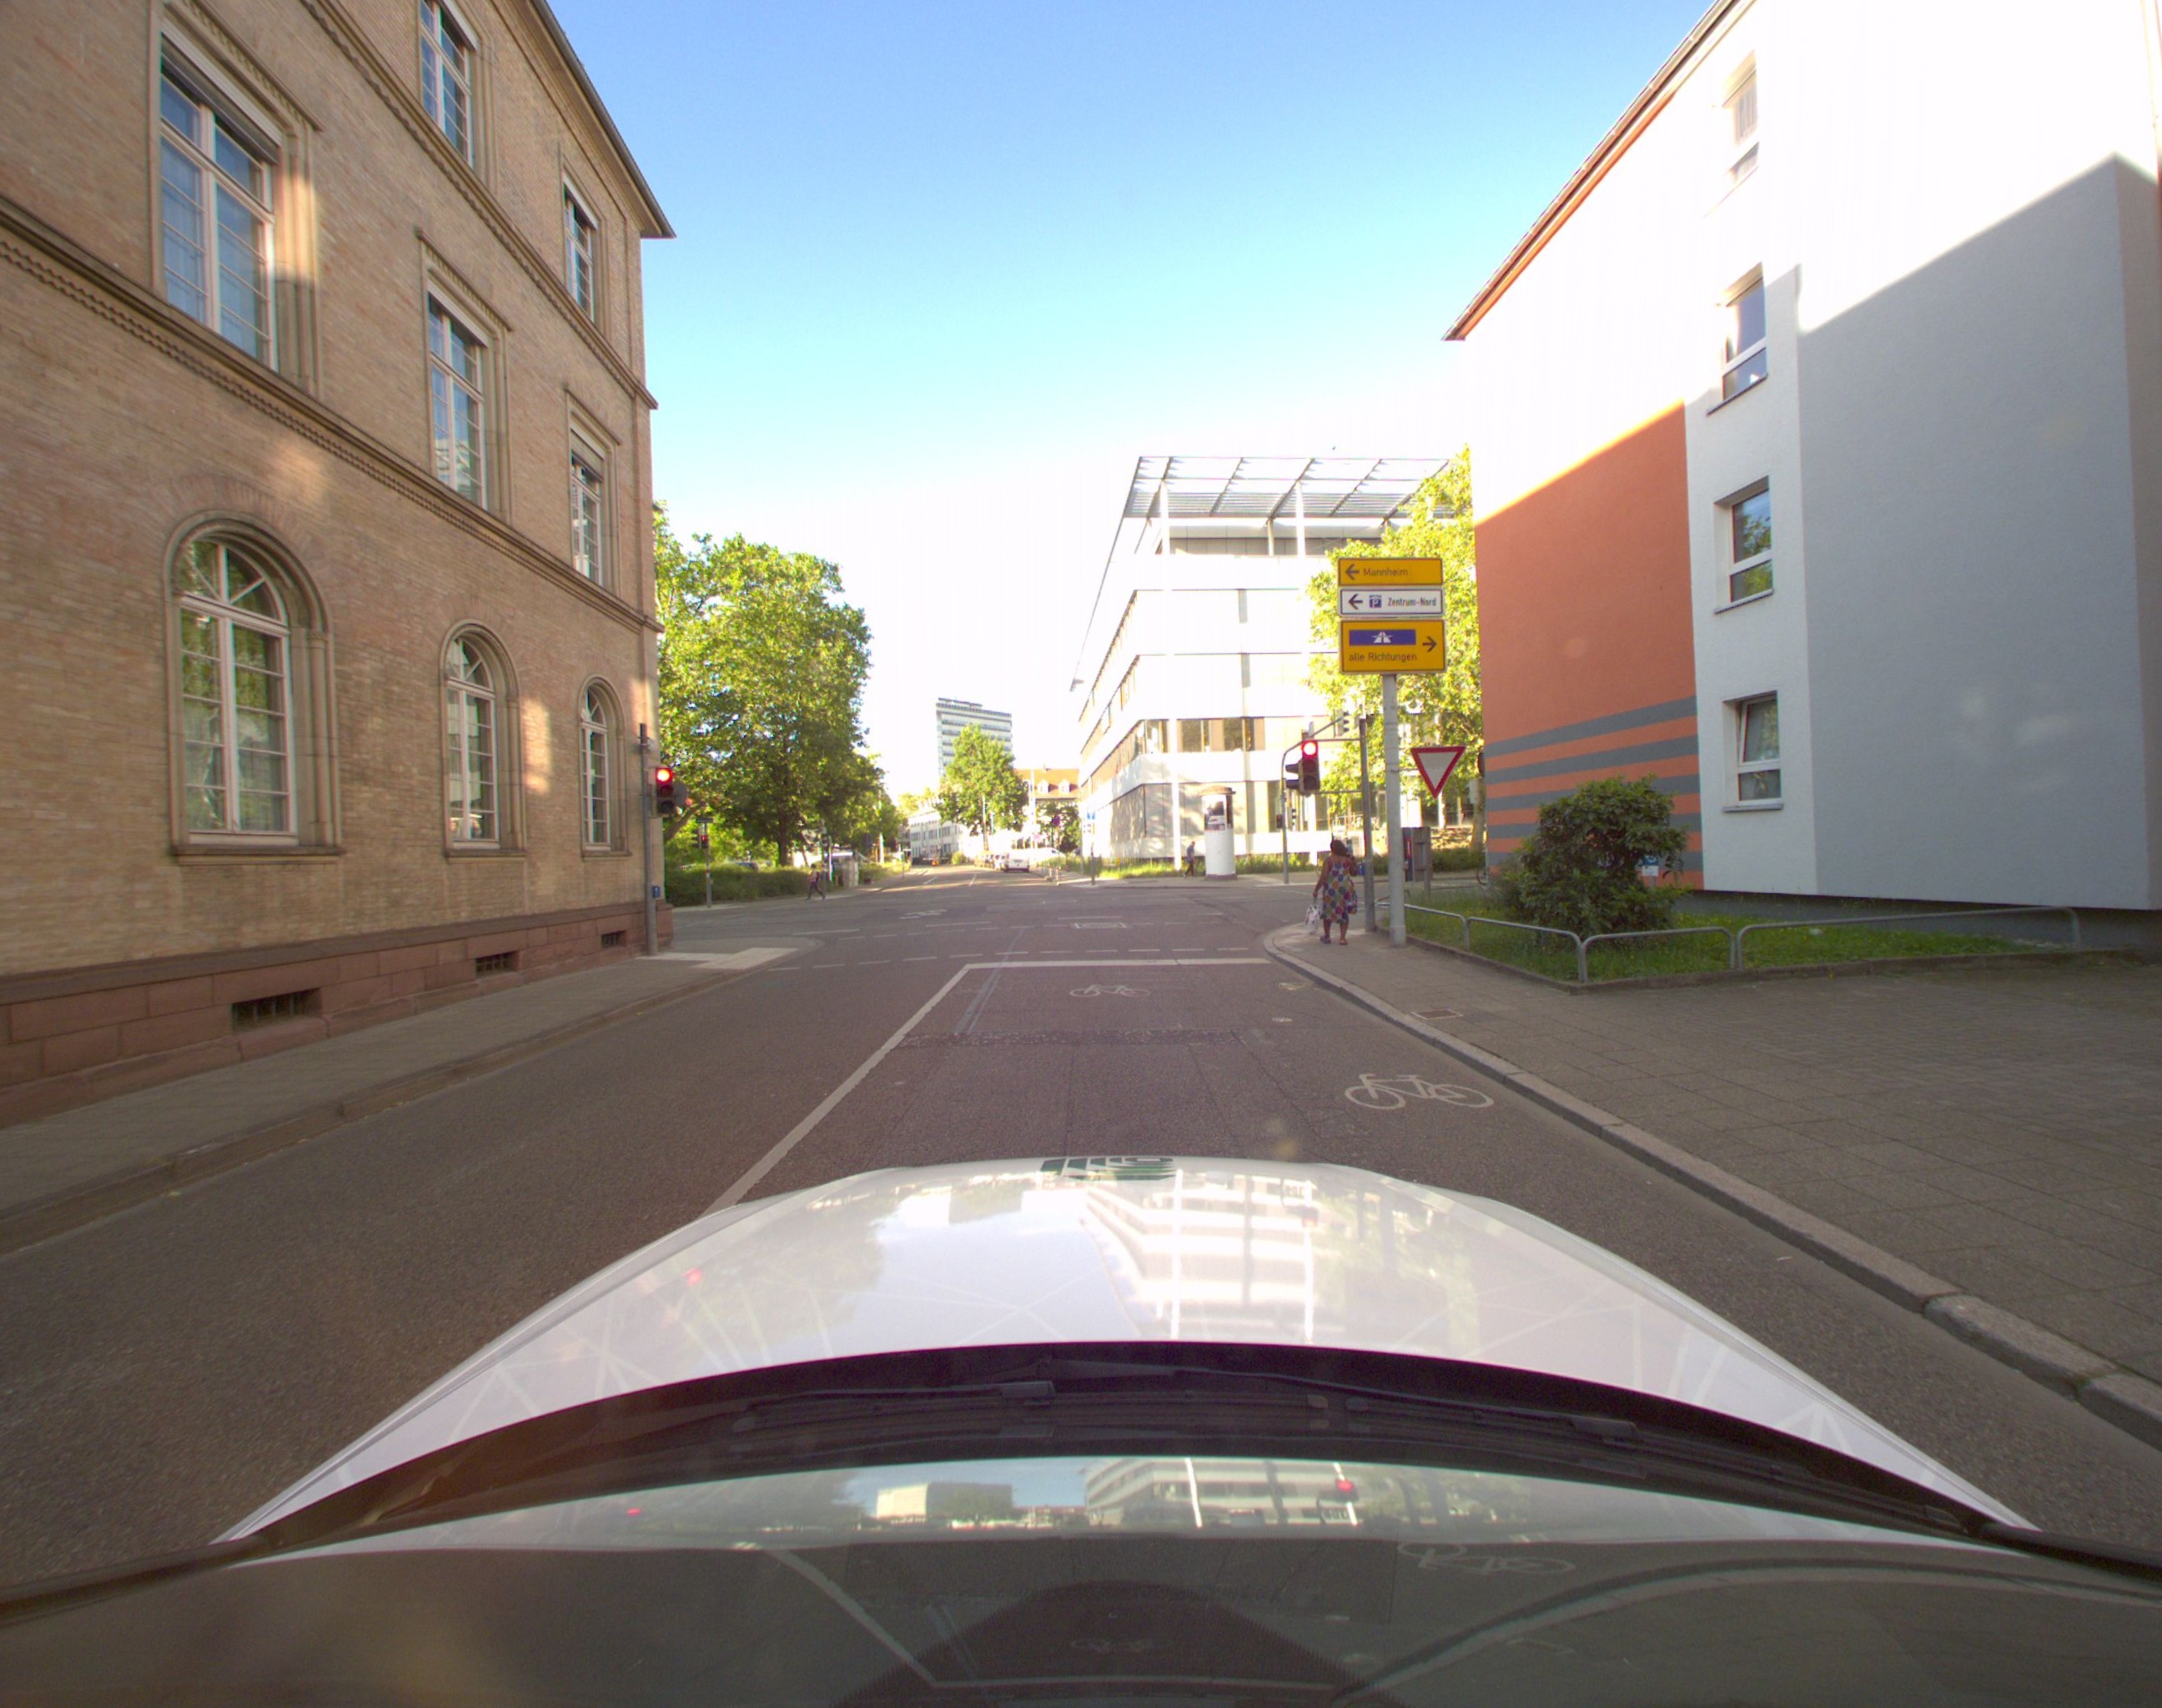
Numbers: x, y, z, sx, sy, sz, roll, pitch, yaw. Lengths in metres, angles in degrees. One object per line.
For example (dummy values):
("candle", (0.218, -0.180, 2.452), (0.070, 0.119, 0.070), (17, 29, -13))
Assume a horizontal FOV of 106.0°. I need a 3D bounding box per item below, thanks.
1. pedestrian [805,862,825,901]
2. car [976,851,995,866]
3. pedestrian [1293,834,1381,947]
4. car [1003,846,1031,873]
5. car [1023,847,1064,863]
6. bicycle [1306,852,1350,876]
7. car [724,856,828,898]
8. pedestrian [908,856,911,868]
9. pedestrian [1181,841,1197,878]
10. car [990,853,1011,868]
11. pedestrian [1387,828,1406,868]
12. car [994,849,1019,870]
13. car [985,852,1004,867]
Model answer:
("pedestrian", (-11.453, 1.172, 35.036), (0.715, 1.599, 0.612), (-2, 0, -26))
("car", (-11.307, 0.522, 96.148), (2.100, 1.658, 4.461), (-2, 0, -9))
("pedestrian", (3.862, 0.537, 12.343), (0.951, 1.573, 0.750), (-5, 0, -1))
("car", (-5.129, 0.417, 64.959), (2.065, 1.963, 4.228), (-2, 0, -7))
("car", (-4.701, 0.116, 103.142), (4.889, 1.872, 1.990), (-1, -1, -15))
("bicycle", (10.902, 0.448, 36.020), (0.467, 1.049, 1.893), (-2, 0, -40))
("car", (-14.400, 1.073, 38.662), (4.219, 1.777, 1.901), (-2, 0, -7))
("pedestrian", (-21.231, 0.968, 100.789), (0.380, 1.534, 0.444), (-2, 0, -10))
("pedestrian", (5.150, 0.271, 38.854), (0.649, 1.736, 0.814), (-2, 0, 6))
("car", (-8.100, 0.640, 81.728), (1.705, 1.424, 4.221), (-2, 0, -11))
("pedestrian", (14.915, -0.292, 38.509), (0.534, 1.831, 1.043), (-2, 0, 9))
("car", (-7.076, 0.503, 76.812), (1.947, 1.795, 4.223), (-2, 0, -11))
("car", (-9.199, 0.547, 86.267), (1.704, 1.464, 4.225), (-2, 0, -9))
